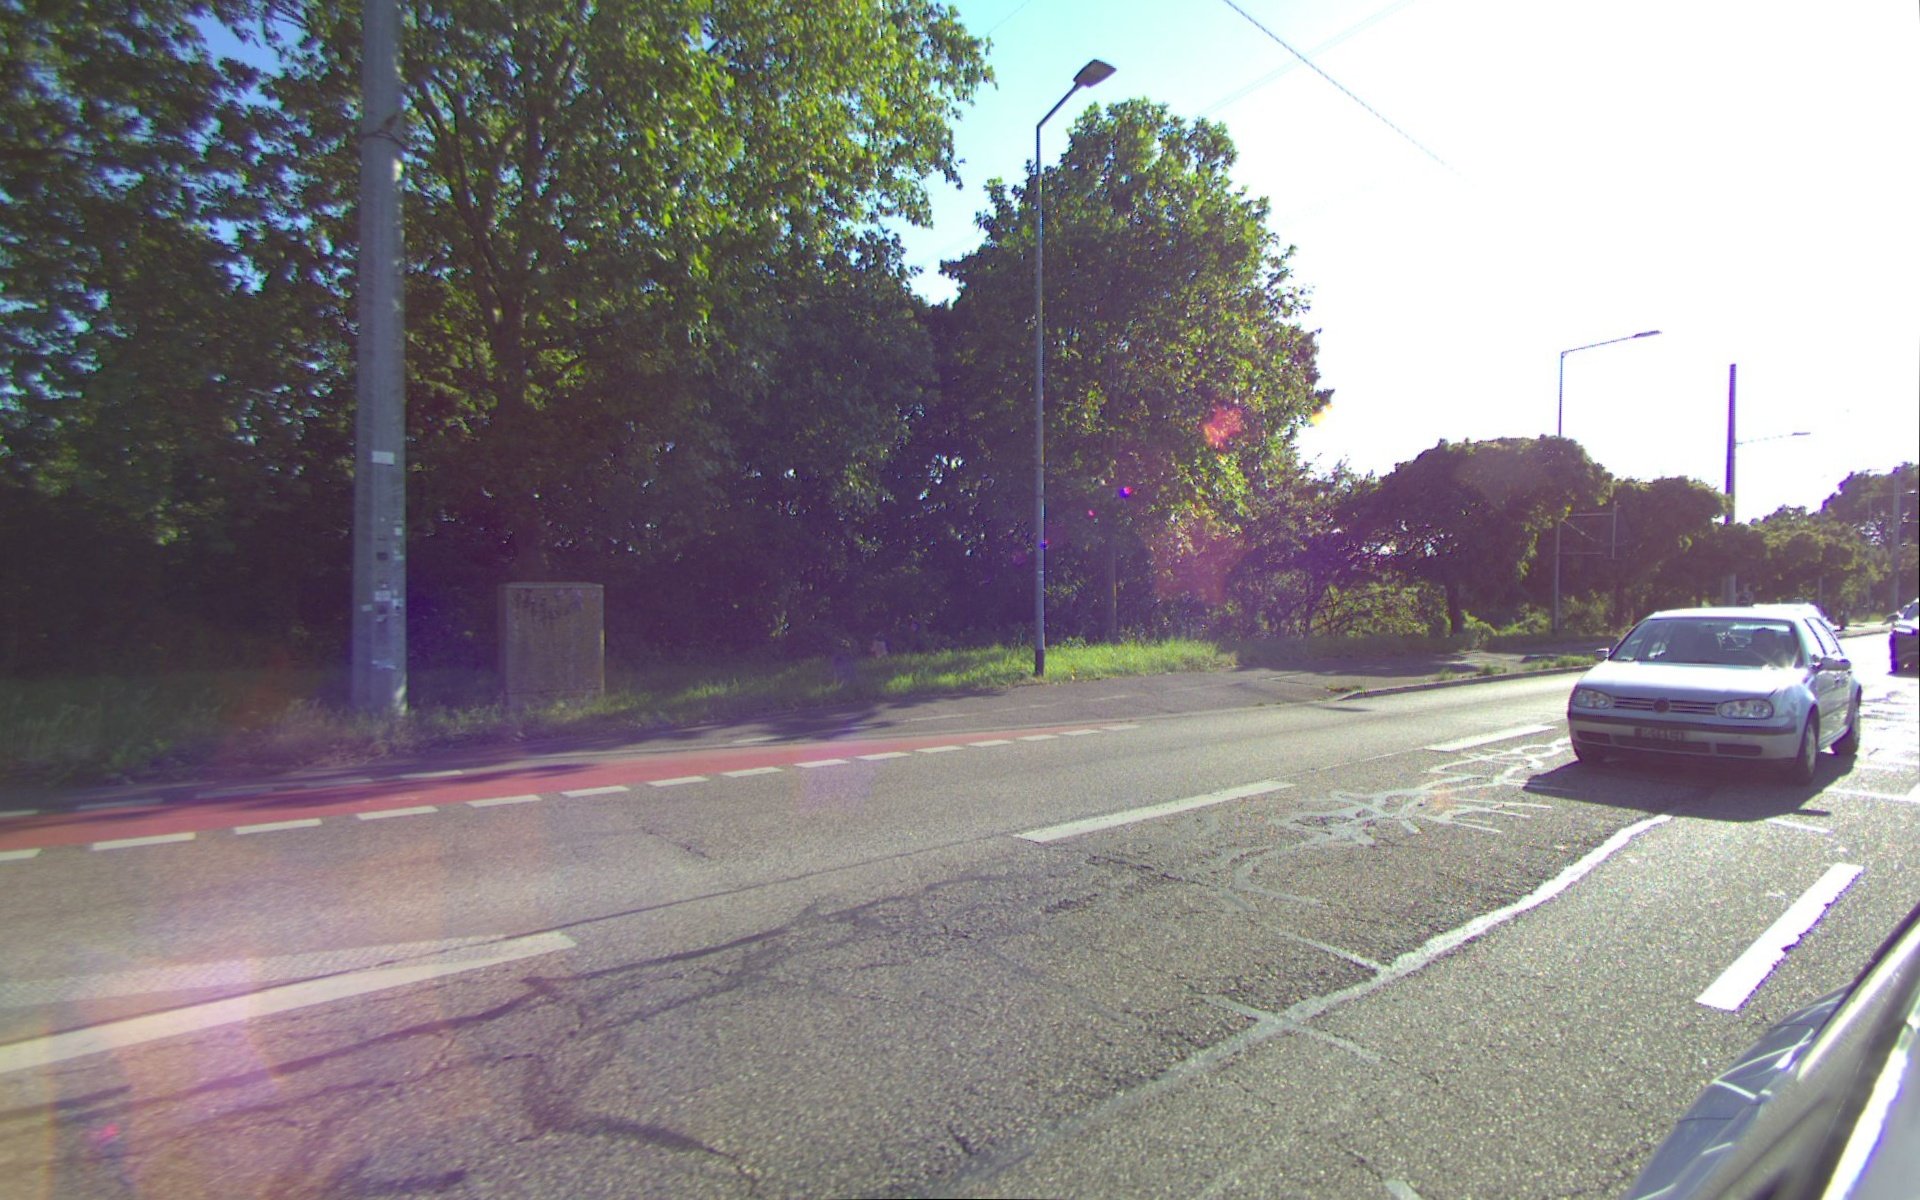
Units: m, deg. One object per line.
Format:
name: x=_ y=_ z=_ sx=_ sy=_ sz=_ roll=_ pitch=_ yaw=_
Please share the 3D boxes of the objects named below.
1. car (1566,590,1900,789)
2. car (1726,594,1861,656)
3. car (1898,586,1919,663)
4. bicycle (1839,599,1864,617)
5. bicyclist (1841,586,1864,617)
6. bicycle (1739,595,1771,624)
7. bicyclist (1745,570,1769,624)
car: x=7.399 y=0.659 z=9.558 sx=3.930 sy=1.463 sz=1.694 roll=-1 pitch=1 yaw=-40
car: x=22.294 y=0.599 z=27.020 sx=4.575 sy=1.461 sz=1.881 roll=-1 pitch=1 yaw=-38
car: x=22.485 y=0.514 z=22.454 sx=4.338 sy=1.620 sz=1.881 roll=-1 pitch=1 yaw=-39
bicycle: x=44.242 y=0.392 z=50.238 sx=1.605 sy=0.844 sz=0.629 roll=-1 pitch=5 yaw=-39
bicyclist: x=44.328 y=0.064 z=50.274 sx=1.041 sy=1.488 sz=0.628 roll=-1 pitch=5 yaw=-40
bicycle: x=30.237 y=0.364 z=38.470 sx=1.936 sy=1.074 sz=0.528 roll=-1 pitch=-1 yaw=-40
bicyclist: x=30.421 y=-0.126 z=38.630 sx=0.716 sy=2.043 sz=0.528 roll=0 pitch=-1 yaw=-39
